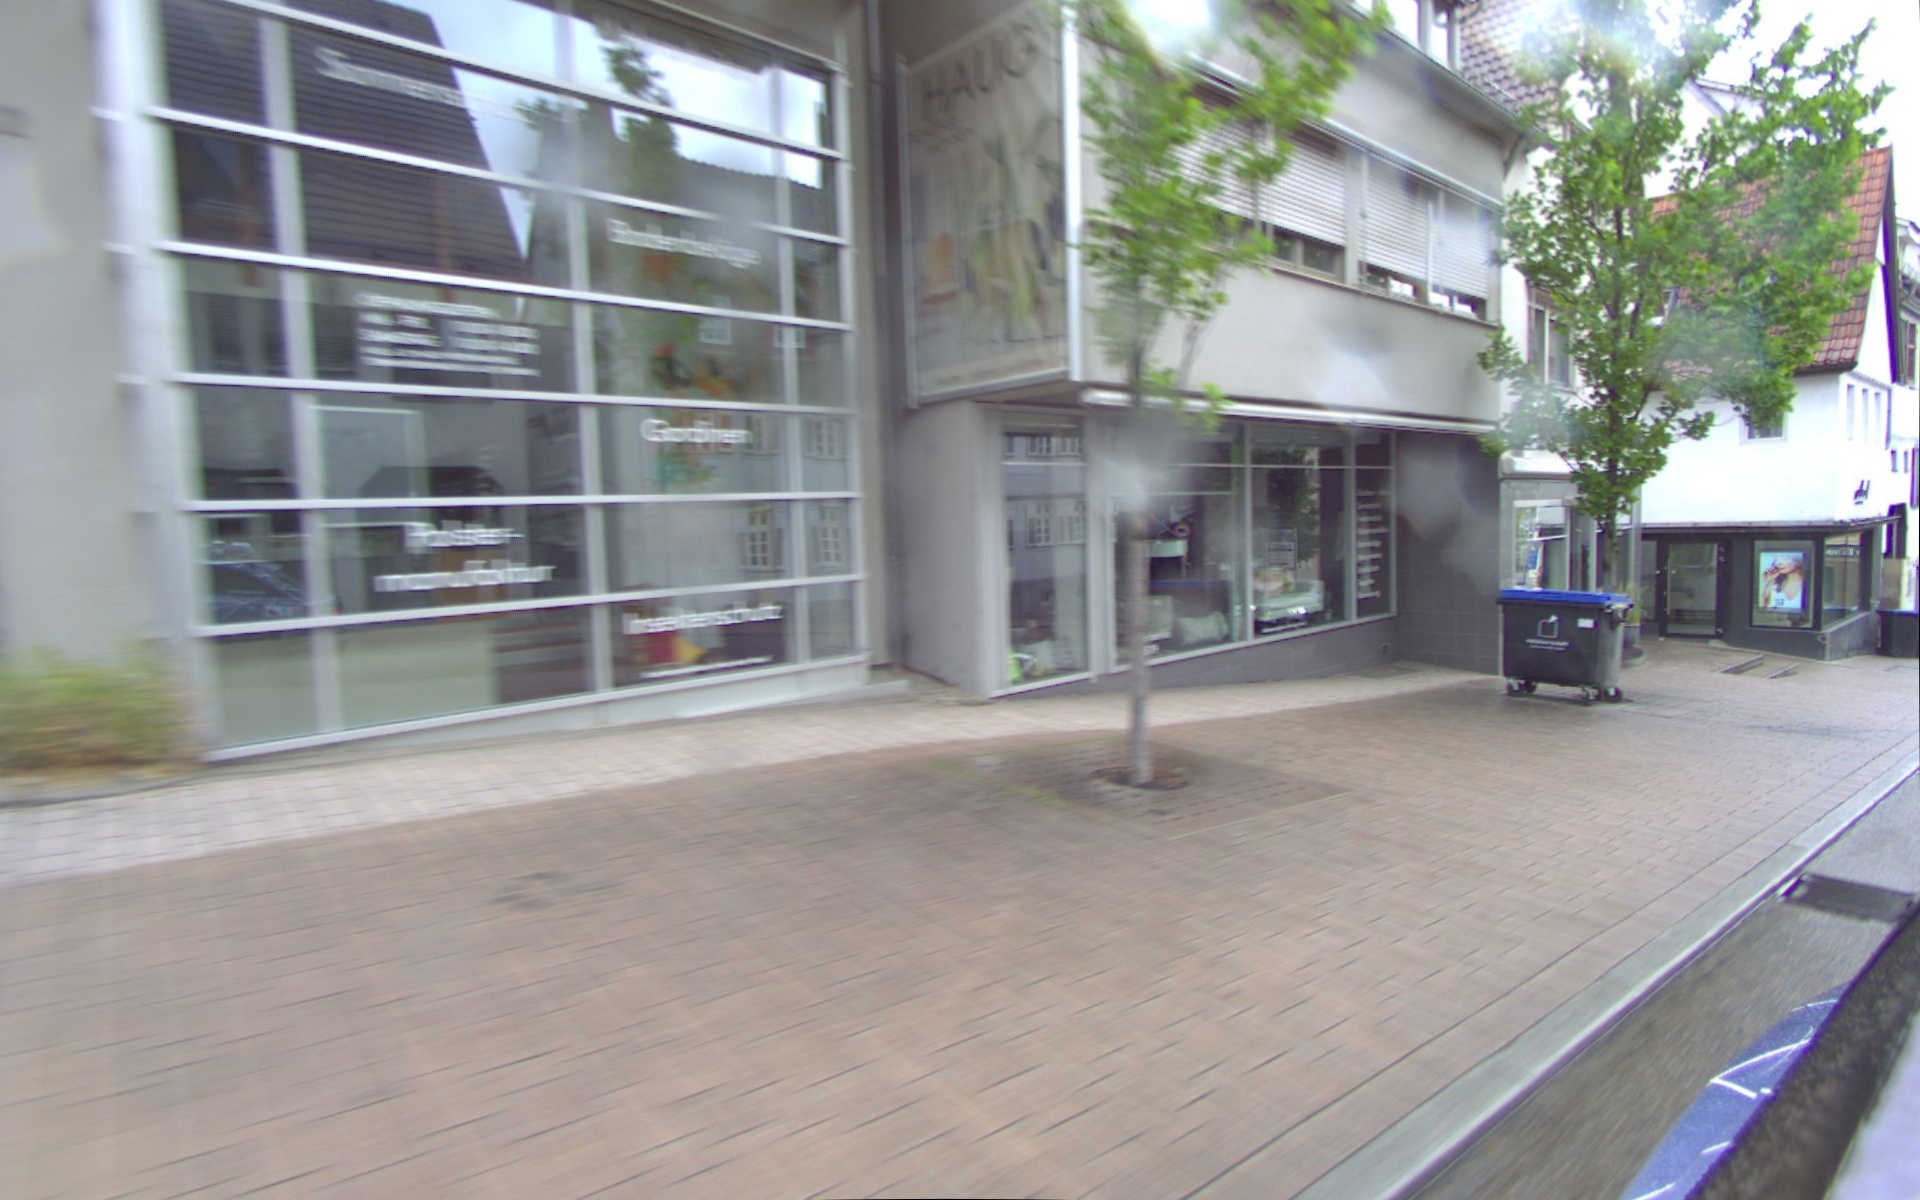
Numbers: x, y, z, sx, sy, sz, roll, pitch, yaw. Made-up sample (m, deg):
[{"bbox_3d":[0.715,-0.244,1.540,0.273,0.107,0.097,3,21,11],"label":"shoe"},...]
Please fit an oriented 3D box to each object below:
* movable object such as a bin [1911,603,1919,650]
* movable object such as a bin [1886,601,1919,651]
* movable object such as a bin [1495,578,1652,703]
[{"bbox_3d":[21.803,0.616,22.681,0.468,1.040,0.597,0,4,-39],"label":"movable object such as a bin"},{"bbox_3d":[20.783,0.573,22.132,0.561,1.040,0.468,3,3,9],"label":"movable object such as a bin"},{"bbox_3d":[7.369,0.445,12.174,1.151,1.351,1.238,0,3,-39],"label":"movable object such as a bin"}]
